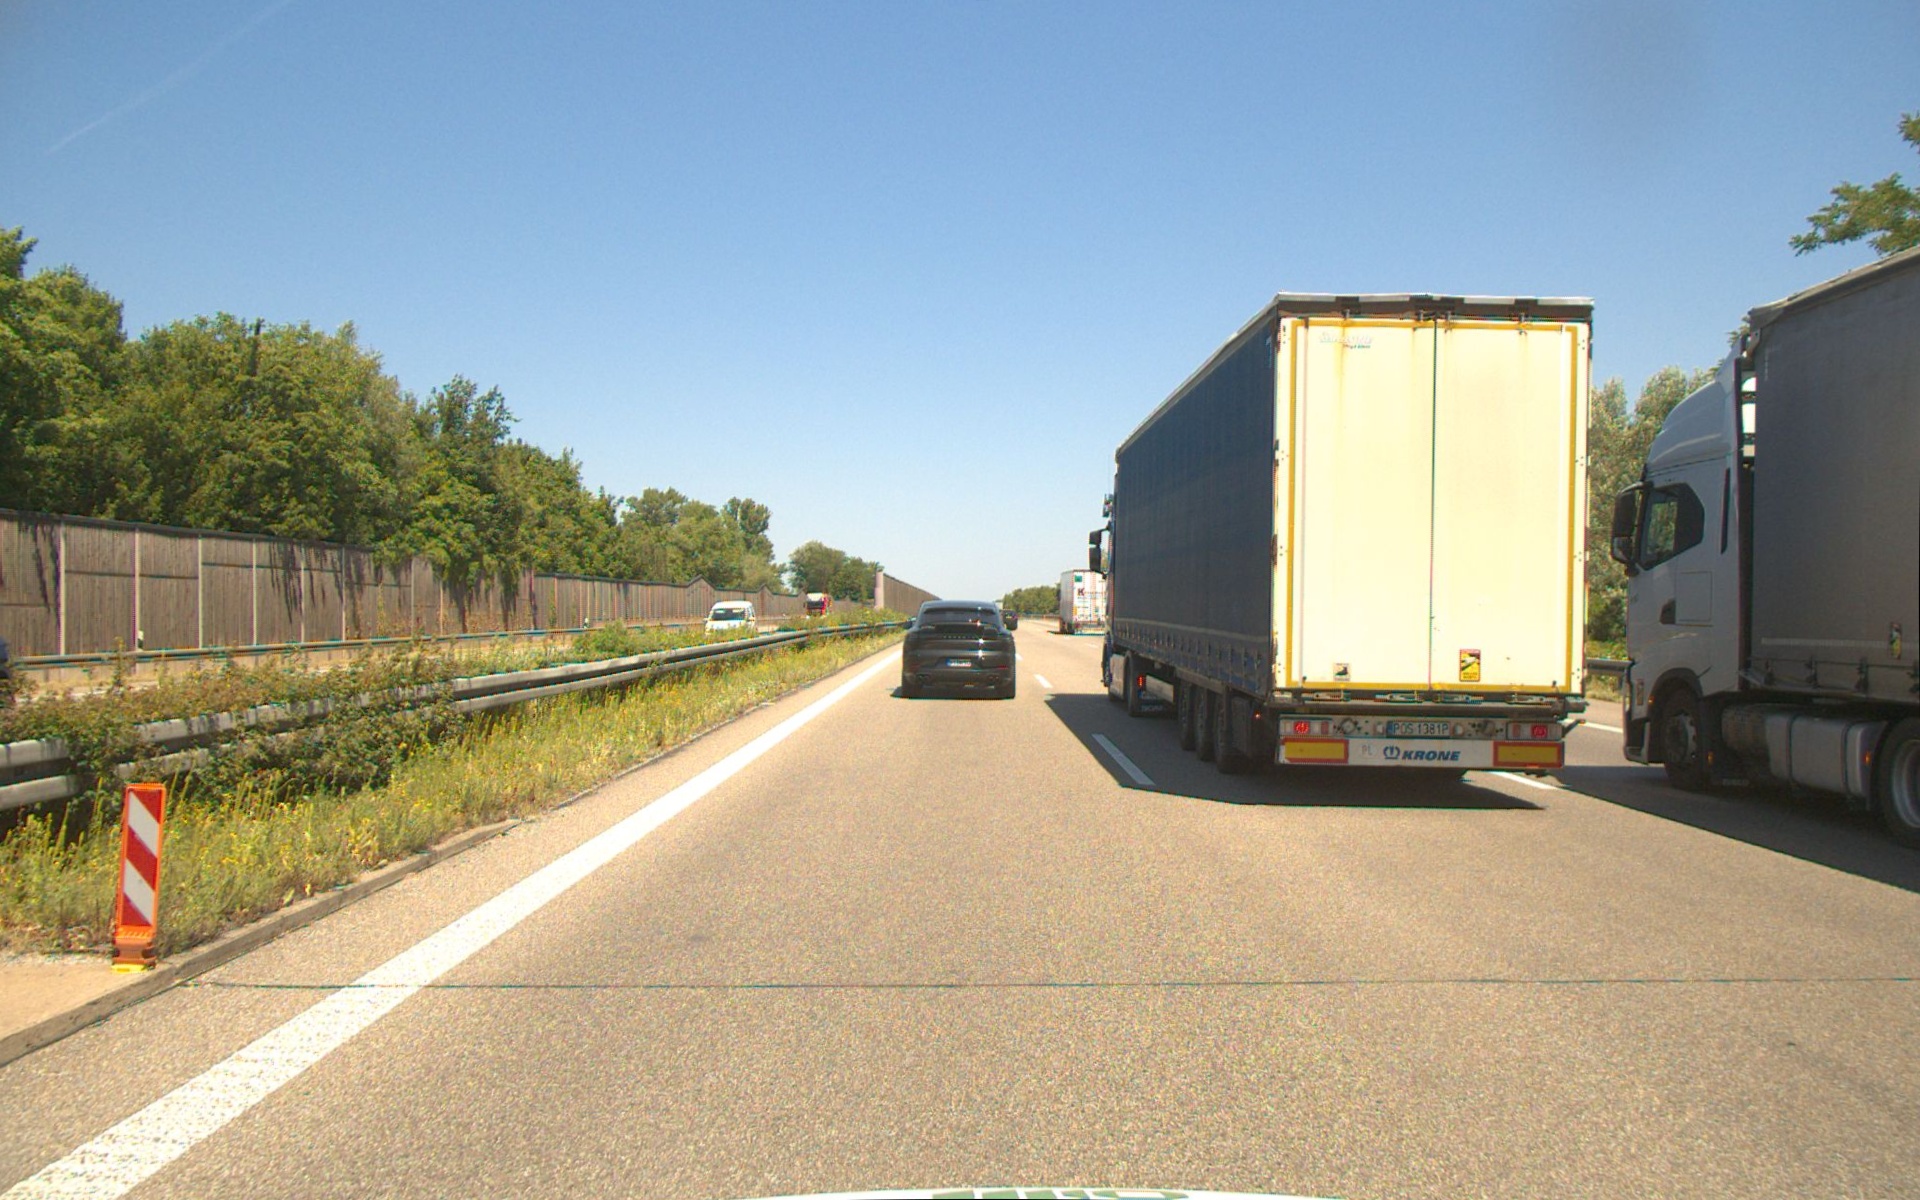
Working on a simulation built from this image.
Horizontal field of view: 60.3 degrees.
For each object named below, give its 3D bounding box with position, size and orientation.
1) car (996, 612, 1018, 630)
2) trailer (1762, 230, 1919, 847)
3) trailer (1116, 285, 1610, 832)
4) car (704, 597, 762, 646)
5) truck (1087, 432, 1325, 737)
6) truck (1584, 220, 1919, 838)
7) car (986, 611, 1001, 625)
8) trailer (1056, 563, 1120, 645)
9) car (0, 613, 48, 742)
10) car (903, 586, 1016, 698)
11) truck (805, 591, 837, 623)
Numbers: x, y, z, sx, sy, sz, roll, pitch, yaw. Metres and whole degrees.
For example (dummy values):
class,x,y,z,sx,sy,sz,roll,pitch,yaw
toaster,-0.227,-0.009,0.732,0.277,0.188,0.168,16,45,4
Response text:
class,x,y,z,sx,sy,sz,roll,pitch,yaw
car,4.249,1.925,150.188,1.864,1.612,4.304,0,-2,1
trailer,7.819,-0.447,6.779,2.645,4.190,13.239,1,-1,0
trailer,3.709,-0.262,18.905,2.645,4.190,12.130,1,-1,0
car,-9.045,0.850,66.224,1.746,1.873,4.558,0,0,-1
truck,3.706,-0.183,26.573,2.645,4.190,6.989,1,-1,-1
truck,7.825,-0.441,13.684,2.645,4.190,6.990,1,-1,0
car,4.083,2.209,203.584,1.864,1.612,4.304,0,-2,1
trailer,8.281,0.312,108.561,3.202,4.922,14.029,1,-1,1
car,-13.851,1.031,21.188,1.842,1.722,4.548,1,0,-1
car,-0.041,0.707,29.324,1.842,1.823,3.999,1,0,-1
truck,-16.127,0.810,192.407,2.644,3.553,10.854,1,-1,1
